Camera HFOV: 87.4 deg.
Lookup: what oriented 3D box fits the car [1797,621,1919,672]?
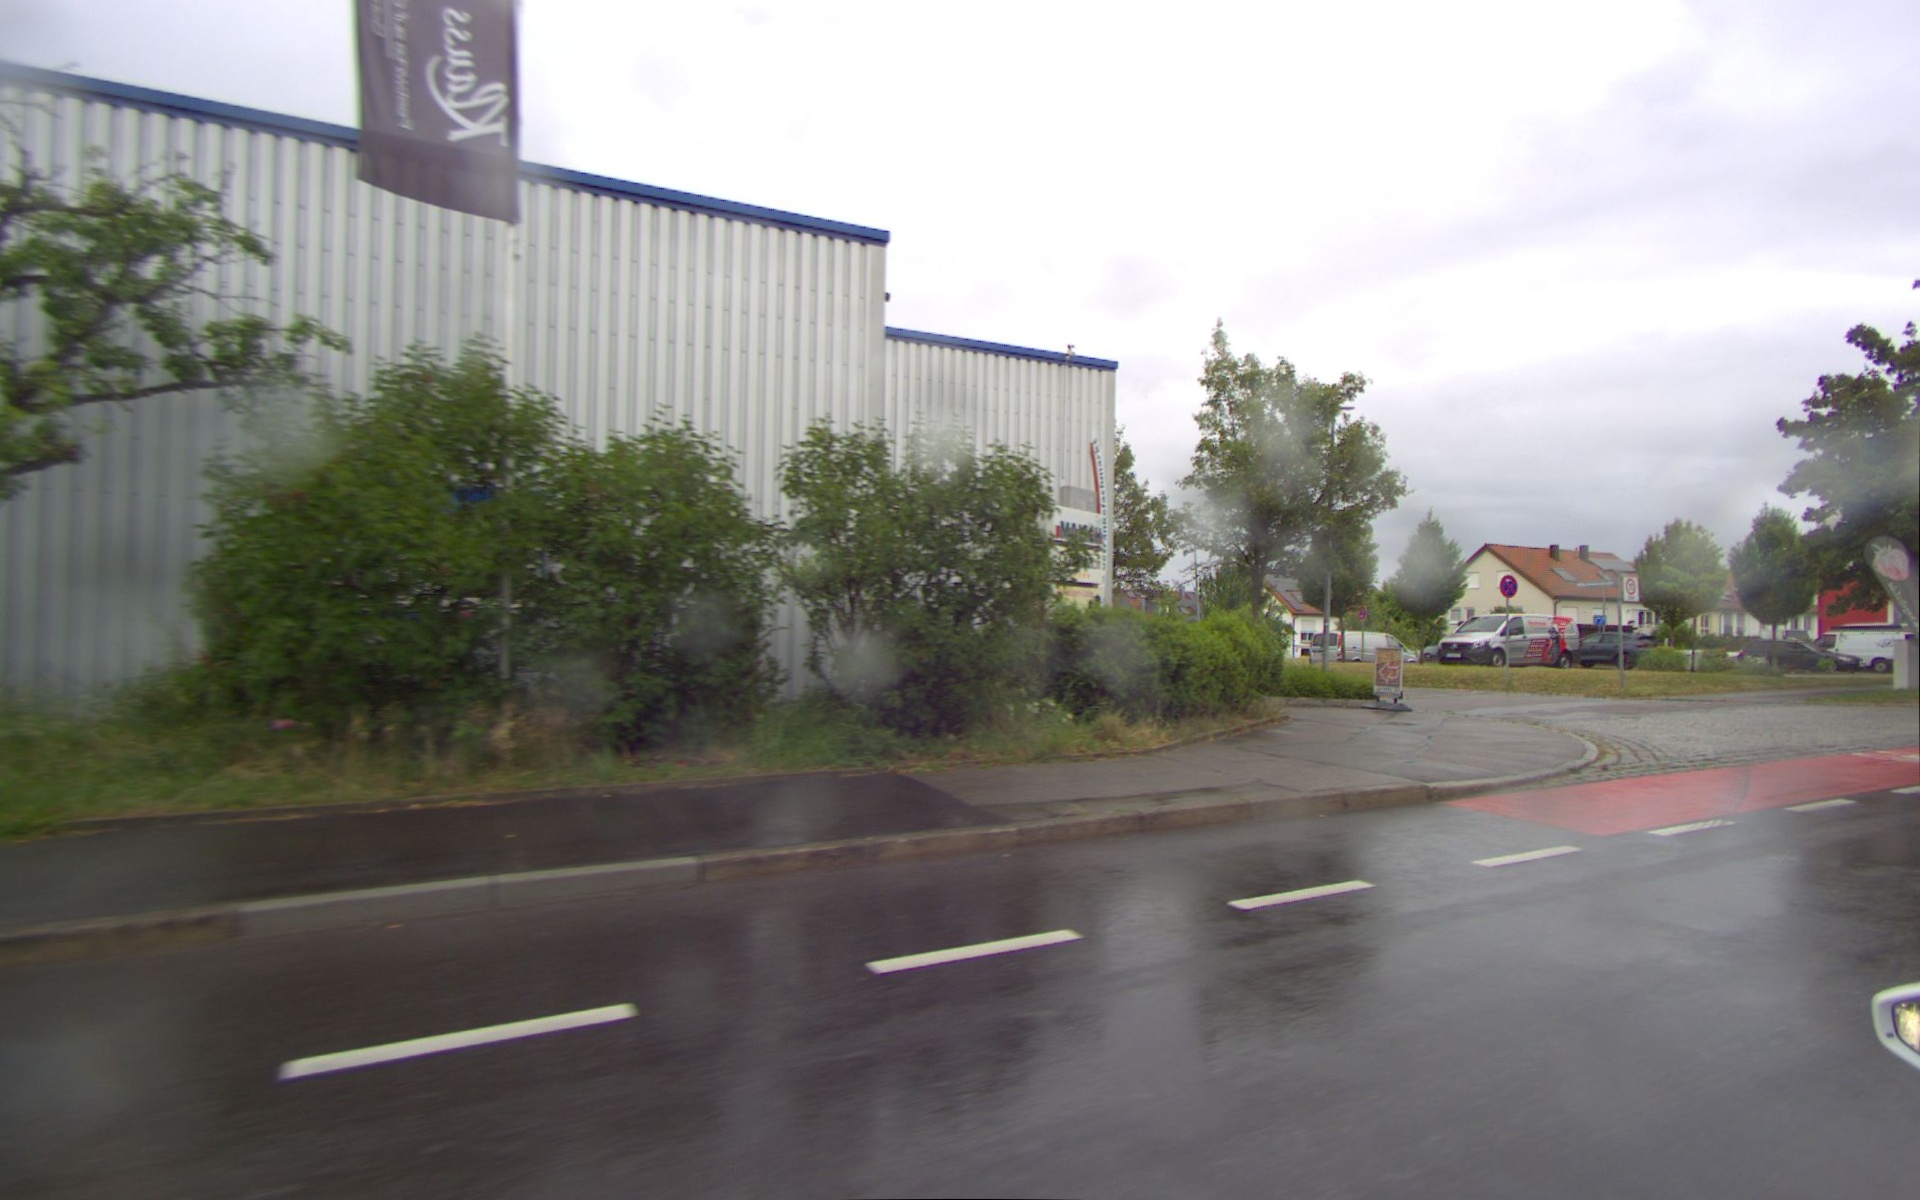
[{"bbox_3d":[45.127,2.288,50.289,2.153,2.341,4.467,1,0,-23],"label":"car"}]

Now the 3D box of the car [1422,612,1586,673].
[{"bbox_3d":[17.932,1.331,33.057,5.538,1.846,2.025,1,0,-28],"label":"car"}]

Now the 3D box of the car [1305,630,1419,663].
[{"bbox_3d":[17.096,1.951,42.725,4.596,1.246,1.974,1,0,-27],"label":"car"}]

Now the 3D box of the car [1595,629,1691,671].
[{"bbox_3d":[28.195,2.015,41.418,4.128,1.577,2.099,1,0,-37],"label":"car"}]

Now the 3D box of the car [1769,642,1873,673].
[{"bbox_3d":[40.891,2.710,47.776,1.684,1.261,3.385,1,0,-29],"label":"car"}]
